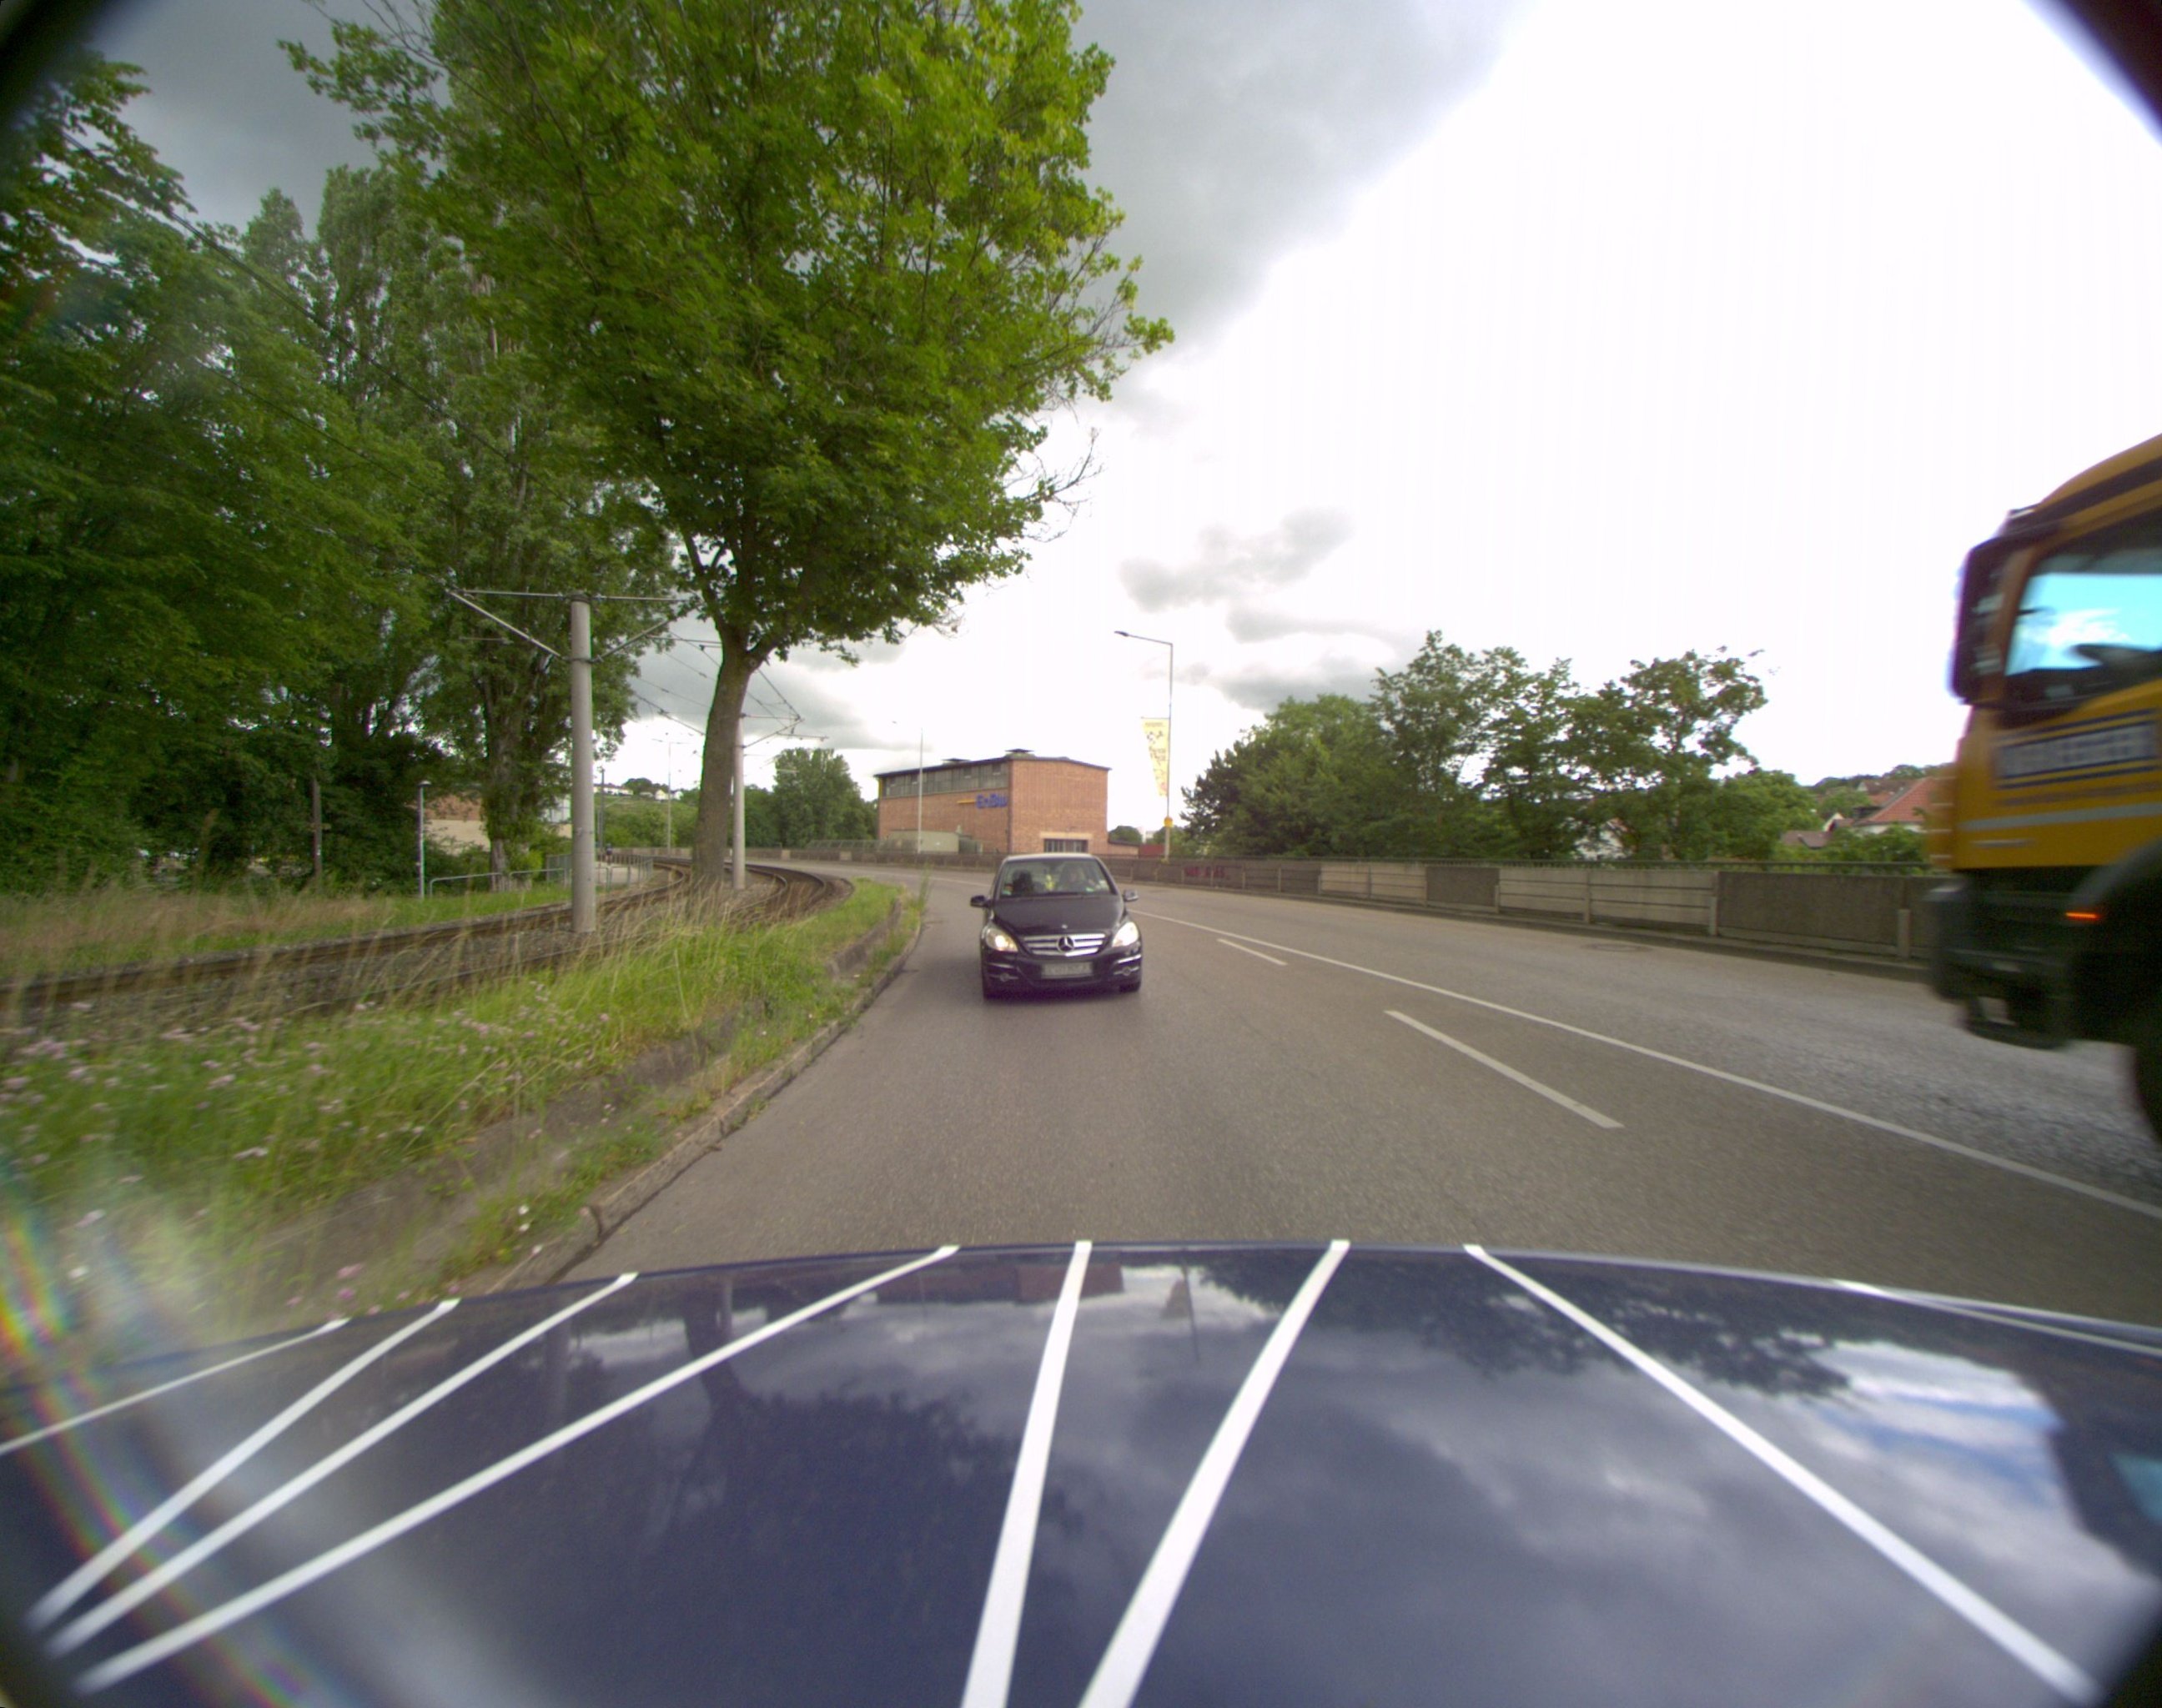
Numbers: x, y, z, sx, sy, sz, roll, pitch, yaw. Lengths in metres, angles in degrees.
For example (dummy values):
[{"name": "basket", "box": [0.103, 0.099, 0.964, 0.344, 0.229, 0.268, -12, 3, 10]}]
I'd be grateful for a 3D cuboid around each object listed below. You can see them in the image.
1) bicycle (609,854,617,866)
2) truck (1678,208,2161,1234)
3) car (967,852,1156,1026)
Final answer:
[{"name": "bicycle", "box": [-34.109, 0.426, 55.376, 0.348, 0.790, 1.544, -1, 1, -28]}, {"name": "truck", "box": [5.438, -0.500, 0.214, 2.661, 3.916, 10.110, -1, 0, 1]}, {"name": "car", "box": [-0.333, 0.835, 9.472, 1.861, 1.612, 3.997, 0, 1, -4]}]
